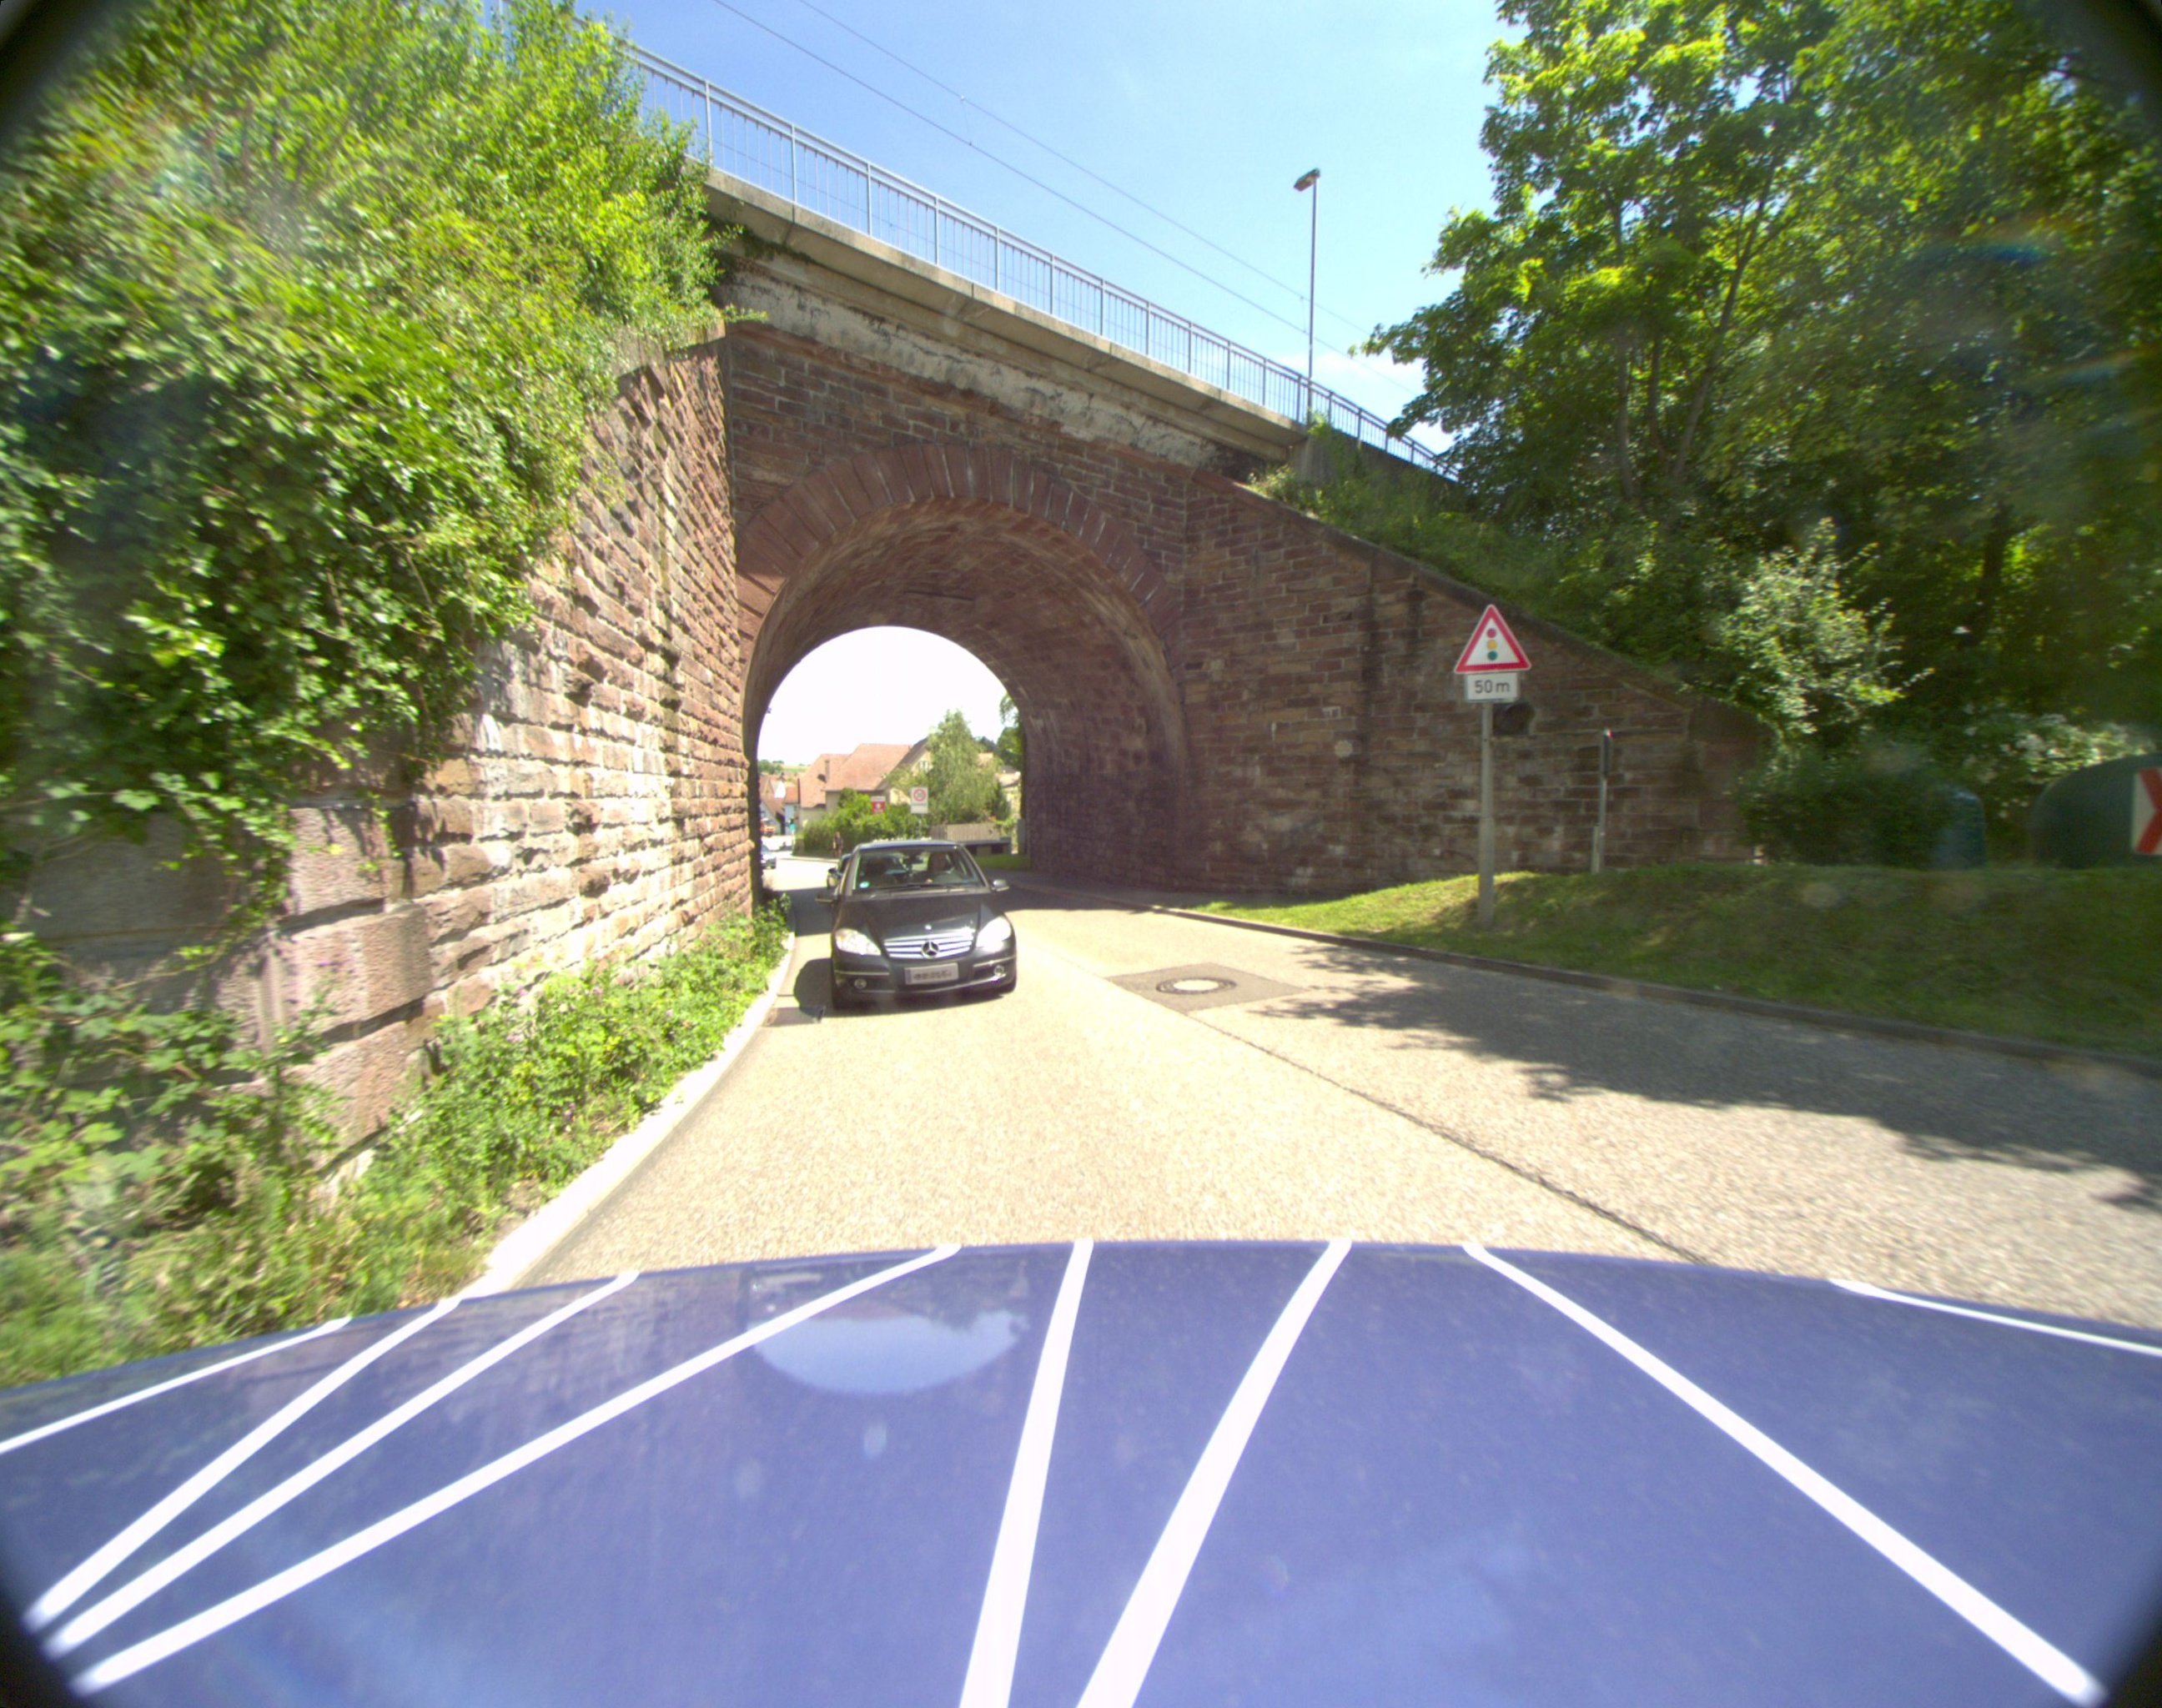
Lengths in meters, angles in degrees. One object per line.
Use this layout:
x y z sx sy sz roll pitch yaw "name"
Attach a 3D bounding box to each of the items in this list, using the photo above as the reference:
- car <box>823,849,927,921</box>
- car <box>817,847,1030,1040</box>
-4.784 0.619 17.355 1.650 1.315 3.430 -4 3 -25 "car"
-1.951 0.762 8.601 1.798 1.571 3.793 -3 1 -18 "car"
